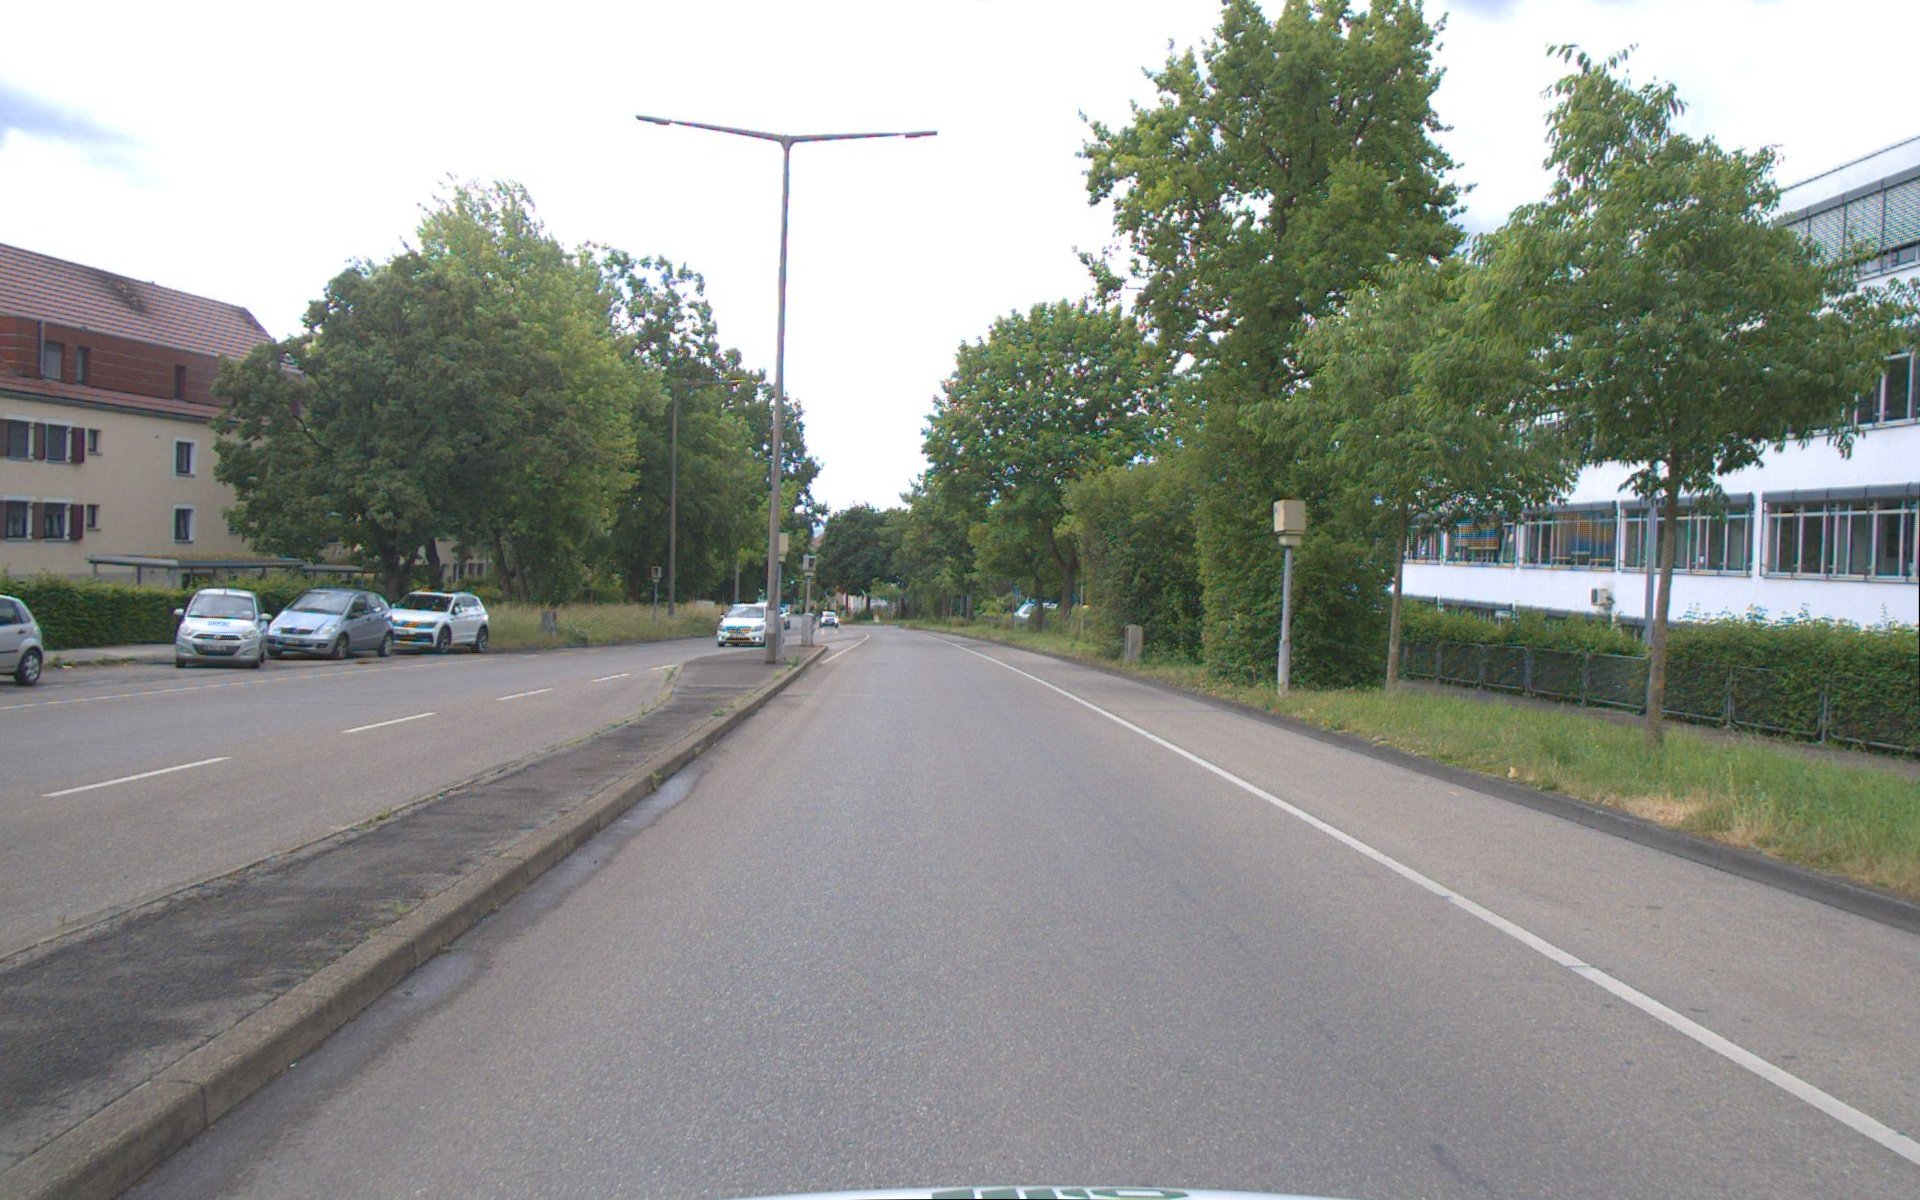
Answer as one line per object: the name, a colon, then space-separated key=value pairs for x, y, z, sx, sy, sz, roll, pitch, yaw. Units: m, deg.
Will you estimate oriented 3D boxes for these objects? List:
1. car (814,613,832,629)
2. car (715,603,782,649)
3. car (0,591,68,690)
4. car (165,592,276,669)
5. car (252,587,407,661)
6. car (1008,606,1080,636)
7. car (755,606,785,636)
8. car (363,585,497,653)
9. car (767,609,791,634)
car: x=-12.816 y=1.963 z=154.940 sx=1.604 sy=1.493 sz=3.997 roll=0 pitch=-1 yaw=-3
car: x=-7.706 y=0.984 z=60.632 sx=1.837 sy=1.598 sz=4.338 roll=2 pitch=-2 yaw=0
car: x=-15.824 y=0.614 z=25.624 sx=1.837 sy=1.533 sz=3.999 roll=1 pitch=0 yaw=0
car: x=-15.547 y=0.619 z=34.924 sx=1.848 sy=1.533 sz=3.976 roll=1 pitch=0 yaw=-21
car: x=-15.063 y=0.601 z=39.741 sx=1.835 sy=1.625 sz=4.002 roll=1 pitch=-2 yaw=5
car: x=7.345 y=1.852 z=144.406 sx=5.942 sy=2.408 sz=2.340 roll=2 pitch=-1 yaw=-29
car: x=-12.914 y=1.418 z=112.570 sx=1.733 sy=1.965 sz=5.151 roll=2 pitch=-1 yaw=-4
car: x=-14.299 y=0.550 z=44.908 sx=1.835 sy=1.696 sz=4.393 roll=1 pitch=-2 yaw=5
car: x=-15.115 y=1.800 z=138.294 sx=1.830 sy=1.998 sz=5.120 roll=1 pitch=-1 yaw=-6
